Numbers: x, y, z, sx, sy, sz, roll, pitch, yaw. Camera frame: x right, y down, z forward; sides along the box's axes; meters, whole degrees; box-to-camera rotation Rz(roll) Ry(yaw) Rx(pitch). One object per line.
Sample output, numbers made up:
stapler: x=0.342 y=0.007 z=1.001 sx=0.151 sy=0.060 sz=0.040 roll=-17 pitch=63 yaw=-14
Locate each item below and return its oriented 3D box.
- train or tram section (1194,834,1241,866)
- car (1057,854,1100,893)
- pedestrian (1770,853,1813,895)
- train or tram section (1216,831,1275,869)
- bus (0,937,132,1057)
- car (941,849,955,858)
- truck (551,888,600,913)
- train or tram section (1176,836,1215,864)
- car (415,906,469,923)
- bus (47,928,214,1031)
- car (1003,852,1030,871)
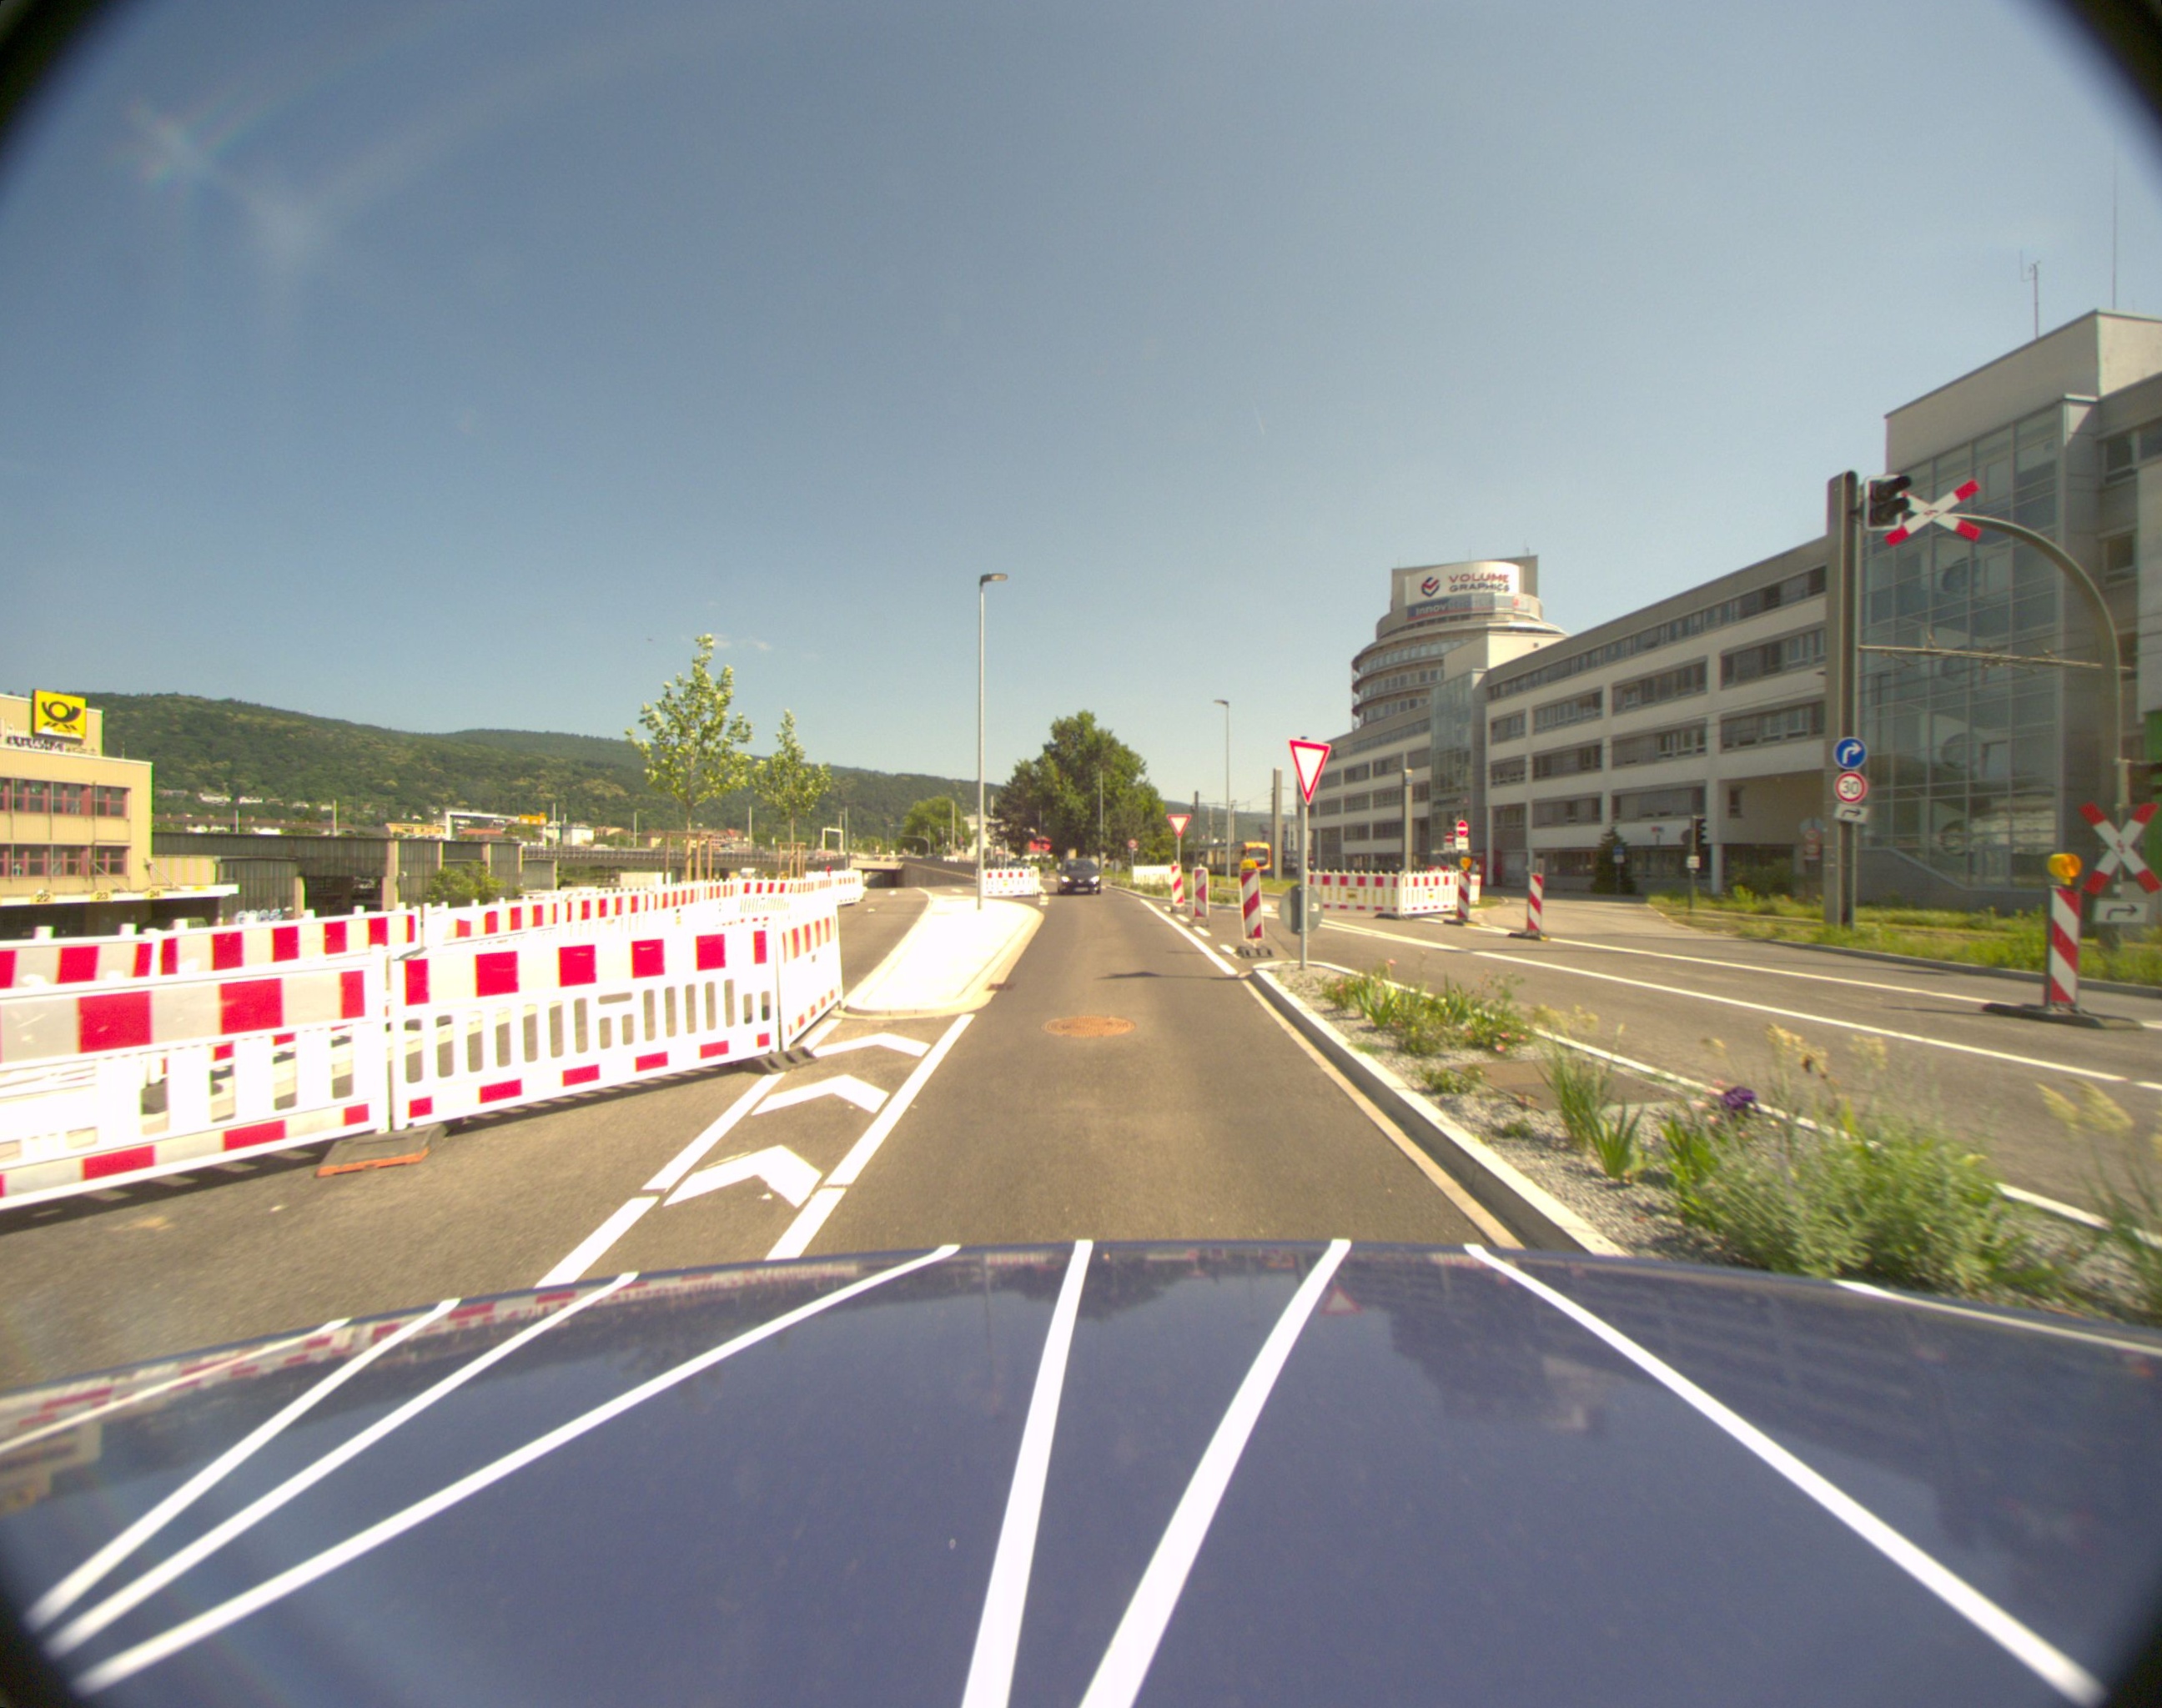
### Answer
train or tram section: x=15.594 y=-0.444 z=87.918 sx=2.632 sy=3.431 sz=11.776 roll=-2 pitch=0 yaw=-3
car: x=-0.154 y=0.756 z=30.864 sx=1.619 sy=1.433 sz=3.705 roll=0 pitch=1 yaw=-2
pedestrian: x=31.407 y=0.880 z=33.599 sx=0.767 sy=1.816 sz=1.108 roll=-2 pitch=0 yaw=-5
train or tram section: x=16.282 y=-0.371 z=76.159 sx=2.632 sy=3.431 sz=11.776 roll=-2 pitch=0 yaw=-3
bus: x=-49.308 y=6.308 z=35.706 sx=17.081 sy=3.742 sz=2.670 roll=0 pitch=1 yaw=28
car: x=-20.902 y=-0.106 z=119.065 sx=1.621 sy=1.433 sz=3.761 roll=0 pitch=1 yaw=-19
truck: x=-71.124 y=6.490 z=107.121 sx=2.000 sy=2.742 sz=8.387 roll=-1 pitch=1 yaw=-7
train or tram section: x=14.904 y=-0.528 z=99.680 sx=2.632 sy=3.431 sz=11.776 roll=-2 pitch=0 yaw=-3
car: x=-71.250 y=6.747 z=84.772 sx=4.369 sy=1.576 sz=1.744 roll=-1 pitch=1 yaw=-8
bus: x=-51.484 y=6.400 z=40.895 sx=17.429 sy=3.742 sz=2.670 roll=0 pitch=1 yaw=29
car: x=-5.237 y=0.570 z=61.641 sx=1.620 sy=1.433 sz=3.763 roll=0 pitch=1 yaw=-14
